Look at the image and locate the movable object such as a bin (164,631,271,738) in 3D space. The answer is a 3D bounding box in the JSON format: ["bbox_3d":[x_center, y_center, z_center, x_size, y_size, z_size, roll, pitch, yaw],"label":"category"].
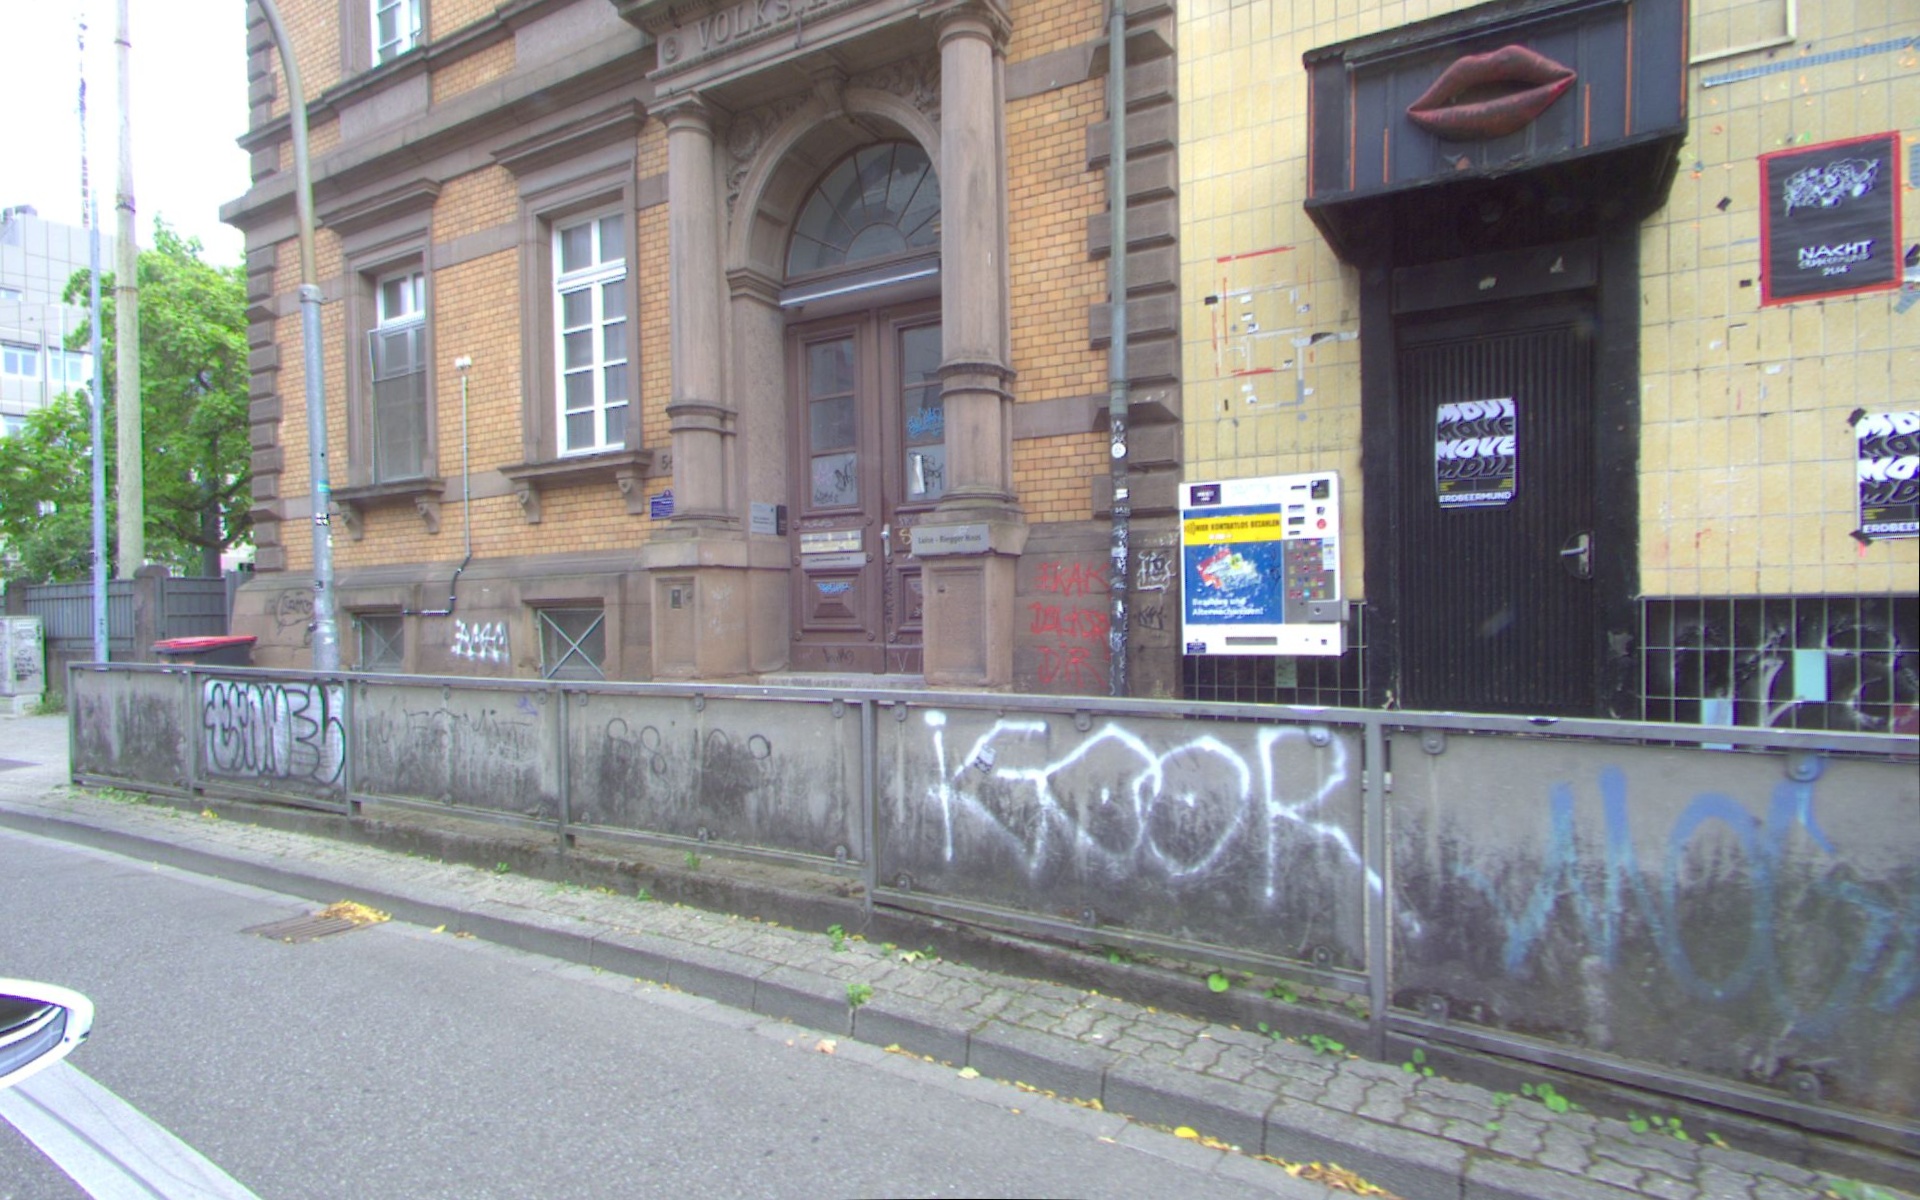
[{"bbox_3d":[-8.319,0.925,11.231,0.690,1.097,0.662,-1,4,27],"label":"movable object such as a bin"}]

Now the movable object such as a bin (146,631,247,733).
[{"bbox_3d":[-8.883,0.935,11.661,0.667,1.097,0.650,-1,4,27],"label":"movable object such as a bin"}]
